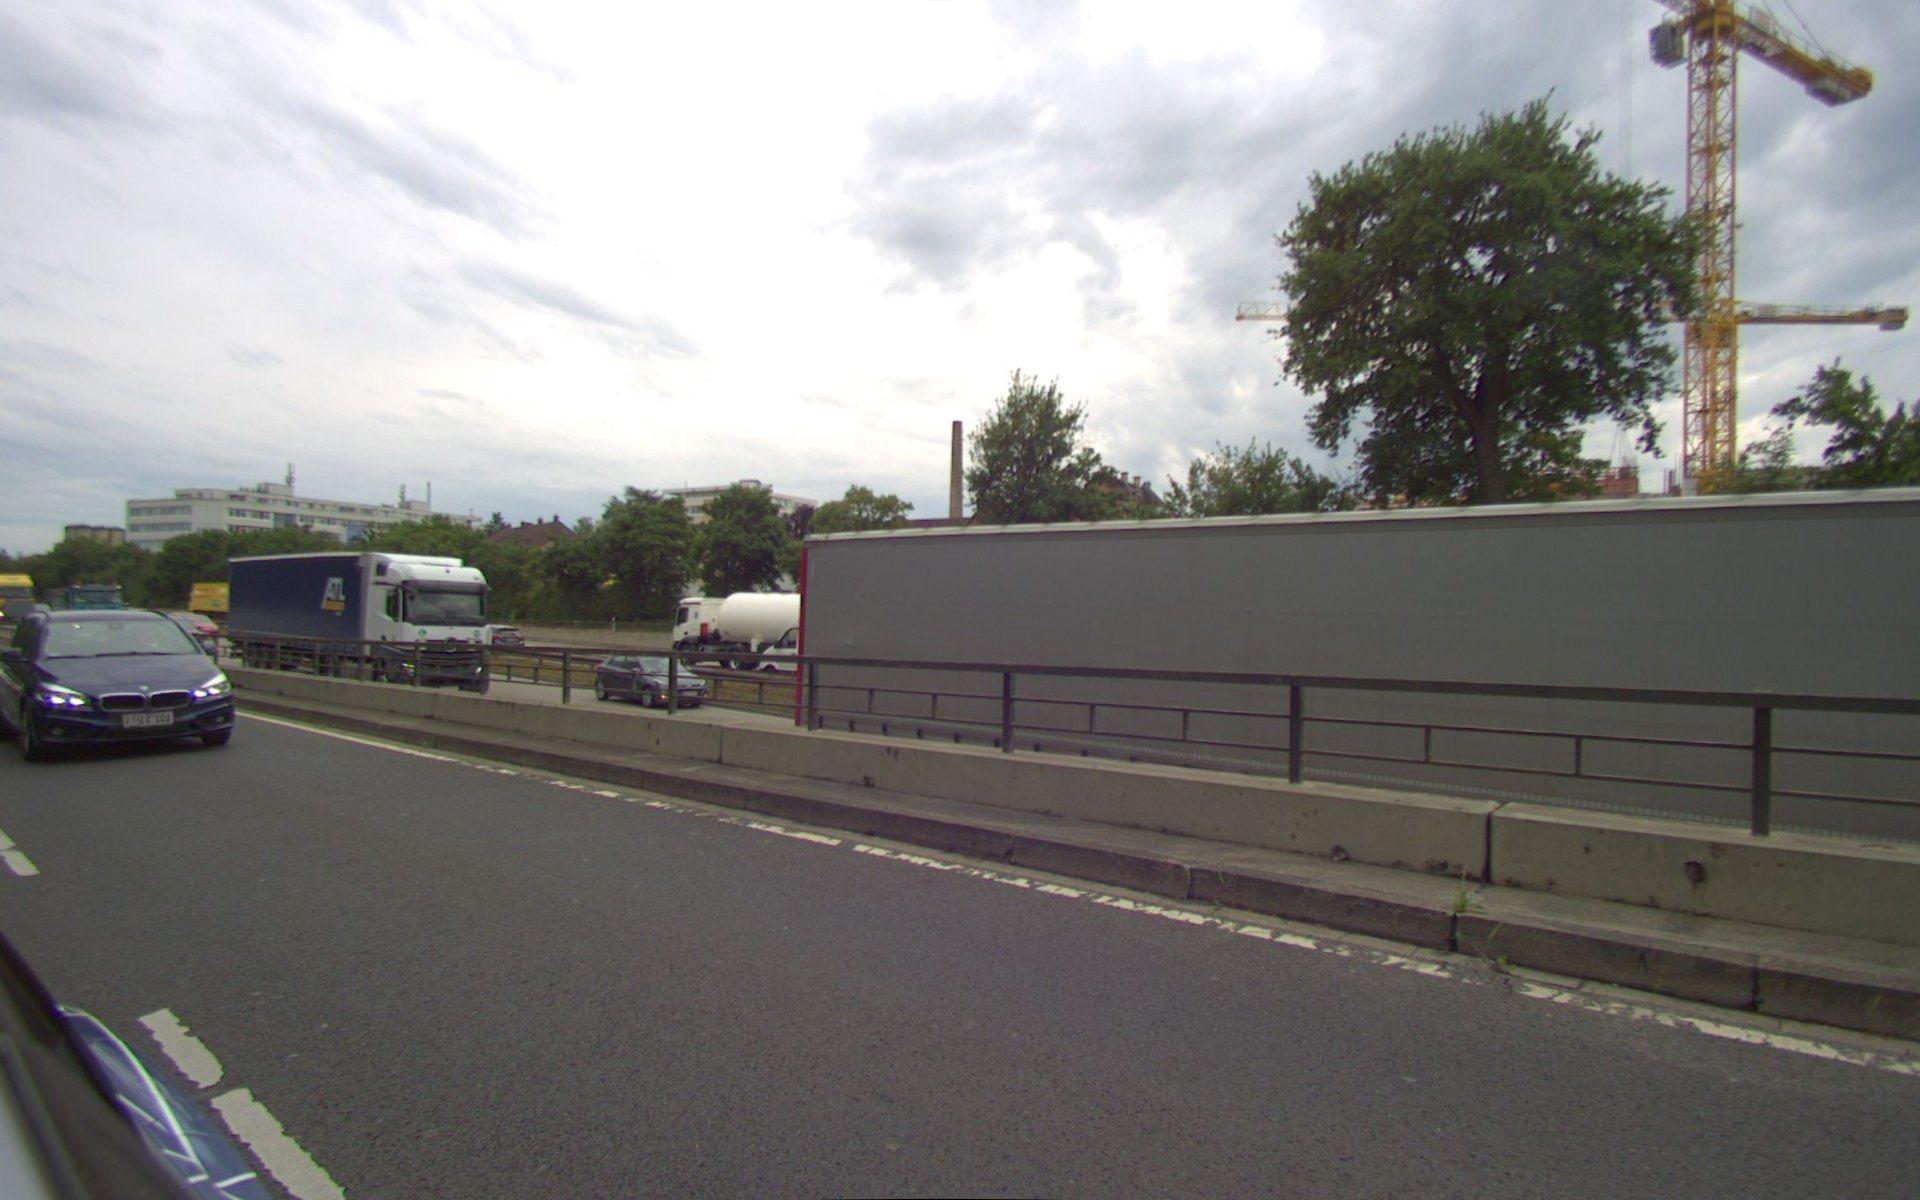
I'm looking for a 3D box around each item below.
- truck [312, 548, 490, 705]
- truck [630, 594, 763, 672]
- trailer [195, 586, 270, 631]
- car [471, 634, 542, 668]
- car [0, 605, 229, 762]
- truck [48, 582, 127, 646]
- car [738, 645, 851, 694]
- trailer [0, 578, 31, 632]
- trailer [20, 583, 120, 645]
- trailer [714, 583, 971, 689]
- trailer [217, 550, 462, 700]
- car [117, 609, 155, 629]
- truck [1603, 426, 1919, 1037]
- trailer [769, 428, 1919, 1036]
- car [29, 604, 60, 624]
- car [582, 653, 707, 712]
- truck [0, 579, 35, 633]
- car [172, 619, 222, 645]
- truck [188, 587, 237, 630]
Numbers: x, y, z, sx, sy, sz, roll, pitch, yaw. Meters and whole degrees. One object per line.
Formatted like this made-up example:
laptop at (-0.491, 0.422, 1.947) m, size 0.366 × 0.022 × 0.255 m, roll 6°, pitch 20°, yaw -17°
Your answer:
truck at (-16.259, 0.734, 29.277) m, size 6.094 × 4.067 × 2.498 m, roll 0°, pitch -2°, yaw 41°
truck at (-11.976, 1.438, 45.715) m, size 6.572 × 3.316 × 2.498 m, roll 0°, pitch -2°, yaw 41°
trailer at (-68.951, 0.811, 95.800) m, size 13.768 × 4.067 × 2.498 m, roll 0°, pitch -2°, yaw 41°
car at (-22.100, 2.459, 49.308) m, size 3.894 × 1.452 × 1.607 m, roll 0°, pitch -2°, yaw 40°
car at (-10.594, 0.859, 12.351) m, size 4.419 × 1.575 × 1.761 m, roll 0°, pitch 0°, yaw 41°
truck at (-52.798, 0.844, 61.168) m, size 6.664 × 3.663 × 2.611 m, roll 0°, pitch -2°, yaw 41°
car at (-5.635, 2.314, 34.251) m, size 3.894 × 1.452 × 1.607 m, roll 0°, pitch -2°, yaw 40°
trailer at (-86.119, 0.468, 90.025) m, size 19.912 × 4.387 × 2.860 m, roll 0°, pitch -2°, yaw 41°
trailer at (-57.972, 0.883, 65.674) m, size 16.741 × 3.668 × 2.580 m, roll 0°, pitch -2°, yaw 41°
trailer at (-4.958, 1.298, 39.660) m, size 12.005 × 3.622 × 2.498 m, roll 0°, pitch -2°, yaw 41°
trailer at (-20.930, 0.747, 33.374) m, size 14.776 × 4.067 × 2.498 m, roll 0°, pitch -2°, yaw 41°
car at (-62.585, 1.399, 76.839) m, size 3.998 × 1.452 × 1.607 m, roll 0°, pitch 0°, yaw 41°
truck at (8.244, 0.897, 6.920) m, size 6.200 × 4.067 × 2.677 m, roll 0°, pitch -2°, yaw 41°
trailer at (3.564, 0.929, 11.029) m, size 14.547 × 4.067 × 2.624 m, roll 0°, pitch -2°, yaw 41°
car at (-95.293, 1.412, 105.280) m, size 3.998 × 2.029 × 1.973 m, roll -1°, pitch 0°, yaw 41°
car at (-9.216, 2.351, 29.421) m, size 3.894 × 1.452 × 1.607 m, roll 0°, pitch -2°, yaw 40°
truck at (-79.323, 0.530, 84.083) m, size 6.516 × 4.377 × 2.856 m, roll 0°, pitch -2°, yaw 41°
car at (-45.437, 1.902, 60.228) m, size 3.998 × 1.452 × 1.607 m, roll 0°, pitch 0°, yaw 41°
truck at (-74.101, 0.844, 100.249) m, size 6.093 × 4.067 × 2.498 m, roll 0°, pitch -2°, yaw 41°
